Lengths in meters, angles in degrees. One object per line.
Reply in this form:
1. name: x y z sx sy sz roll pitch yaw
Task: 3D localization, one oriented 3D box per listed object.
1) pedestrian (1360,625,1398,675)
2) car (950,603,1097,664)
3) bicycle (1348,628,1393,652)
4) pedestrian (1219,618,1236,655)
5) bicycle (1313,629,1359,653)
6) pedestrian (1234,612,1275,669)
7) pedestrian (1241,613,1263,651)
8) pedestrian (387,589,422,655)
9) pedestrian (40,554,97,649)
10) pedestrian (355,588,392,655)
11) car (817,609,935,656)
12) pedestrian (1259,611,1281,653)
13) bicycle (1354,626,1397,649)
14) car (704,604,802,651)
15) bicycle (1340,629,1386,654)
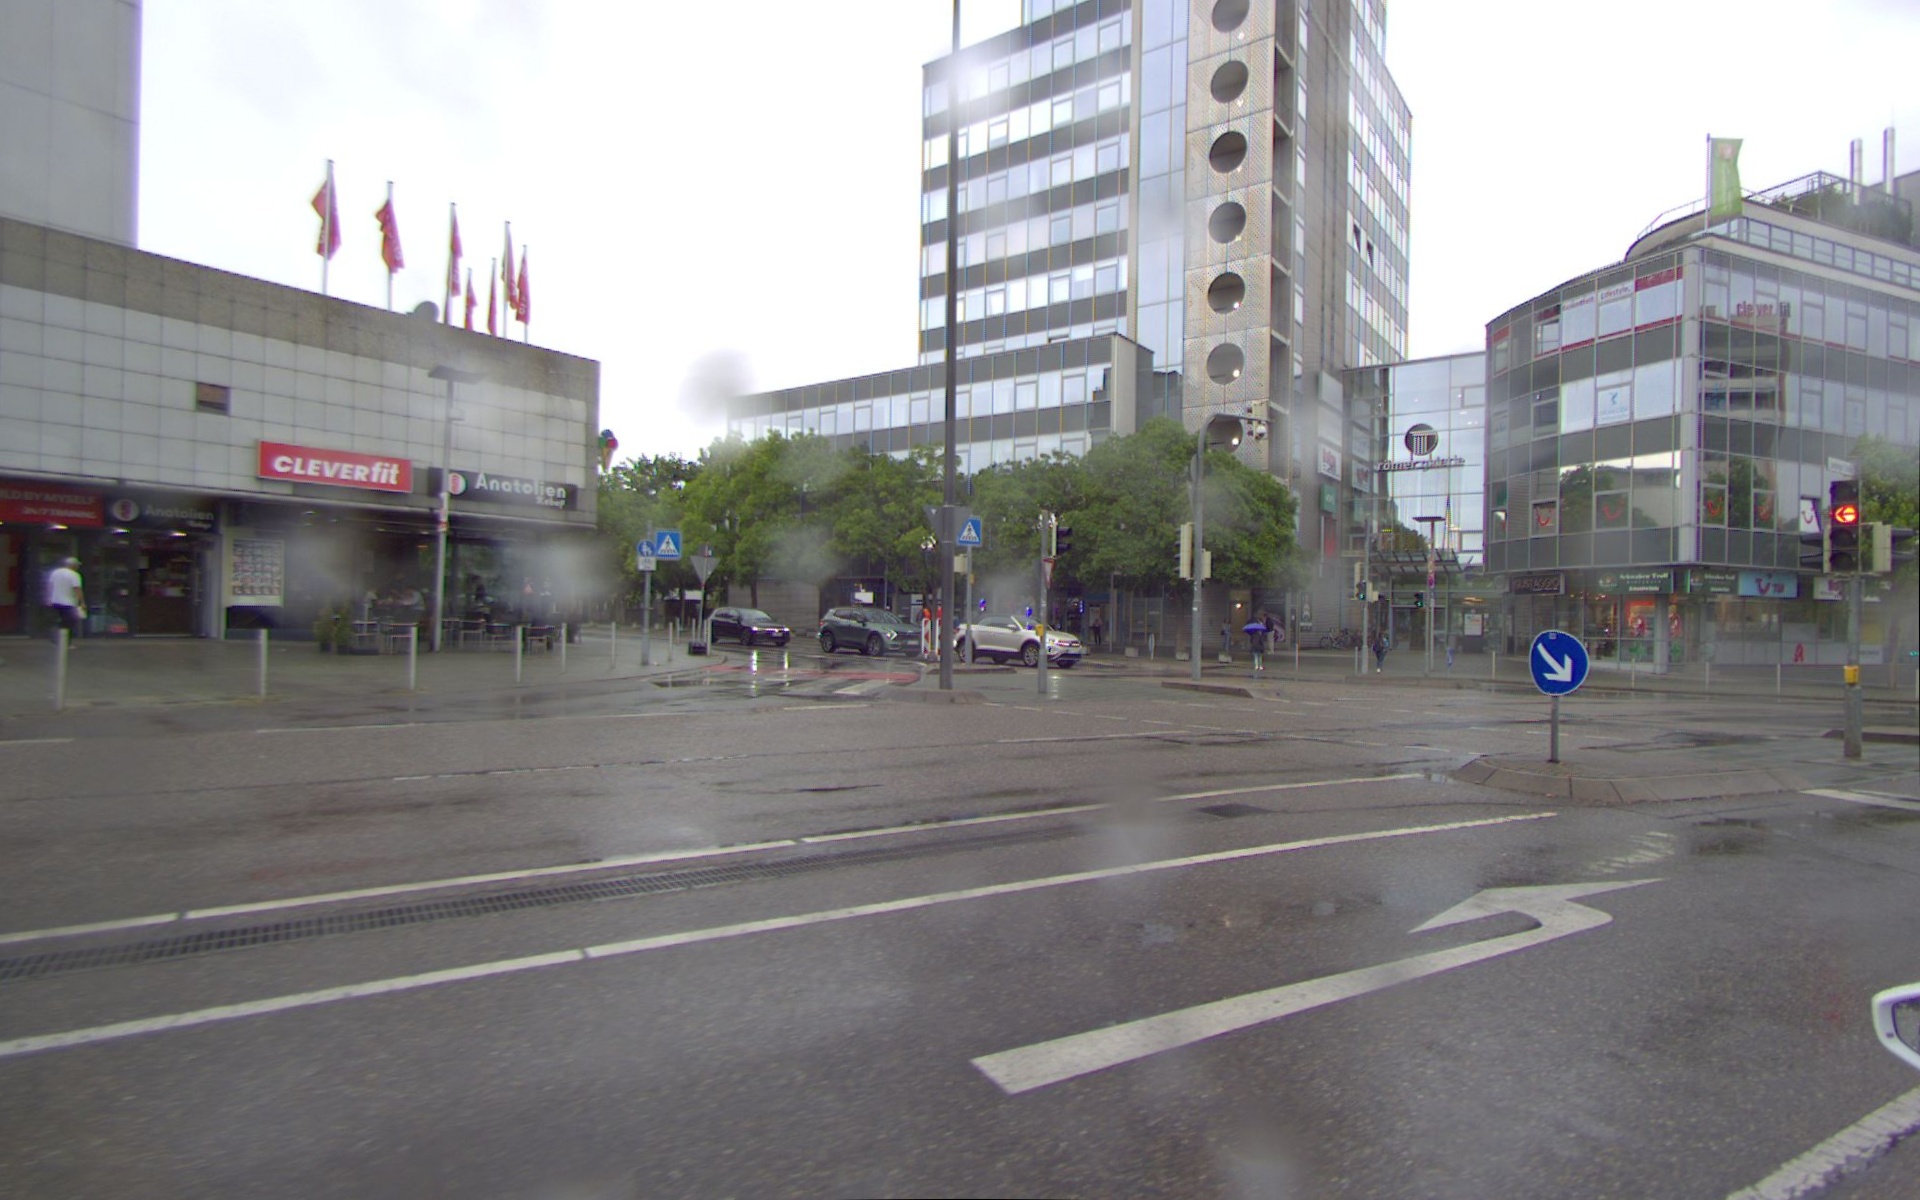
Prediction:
1. pedestrian: 15.811 1.883 37.883 1.009 1.843 0.844 2 -1 -21
2. car: 1.836 0.960 29.970 4.147 1.616 1.859 1 0 44
3. bicycle: 23.101 2.248 56.524 2.243 1.263 0.674 0 -1 36
4. pedestrian: 13.688 1.853 51.352 0.738 1.893 0.834 1 -1 10
5. bicycle: 20.499 2.216 54.754 2.243 1.263 0.674 0 -1 36
6. pedestrian: 10.782 1.463 36.766 1.145 2.040 1.326 1 0 30
7. pedestrian: 14.694 1.588 50.538 0.740 1.893 0.832 1 -1 -12
8. pedestrian: -11.724 0.471 21.199 0.528 1.365 0.495 1 0 -17
9. pedestrian: -16.400 0.034 18.498 0.709 1.715 0.650 1 0 -38
10. pedestrian: -12.275 0.439 21.031 0.529 1.365 0.495 3 -1 -19
11. car: -2.945 1.086 34.699 4.002 1.439 1.859 1 0 44
12. pedestrian: 15.278 1.557 49.544 0.759 2.040 0.706 1 0 -40
13. bicycle: 24.099 2.157 58.267 2.243 1.263 0.674 0 -1 36
14. car: -8.250 1.073 39.797 3.944 1.616 1.859 3 0 44
15. bicycle: 21.964 2.246 54.767 2.243 1.263 0.674 1 0 36
